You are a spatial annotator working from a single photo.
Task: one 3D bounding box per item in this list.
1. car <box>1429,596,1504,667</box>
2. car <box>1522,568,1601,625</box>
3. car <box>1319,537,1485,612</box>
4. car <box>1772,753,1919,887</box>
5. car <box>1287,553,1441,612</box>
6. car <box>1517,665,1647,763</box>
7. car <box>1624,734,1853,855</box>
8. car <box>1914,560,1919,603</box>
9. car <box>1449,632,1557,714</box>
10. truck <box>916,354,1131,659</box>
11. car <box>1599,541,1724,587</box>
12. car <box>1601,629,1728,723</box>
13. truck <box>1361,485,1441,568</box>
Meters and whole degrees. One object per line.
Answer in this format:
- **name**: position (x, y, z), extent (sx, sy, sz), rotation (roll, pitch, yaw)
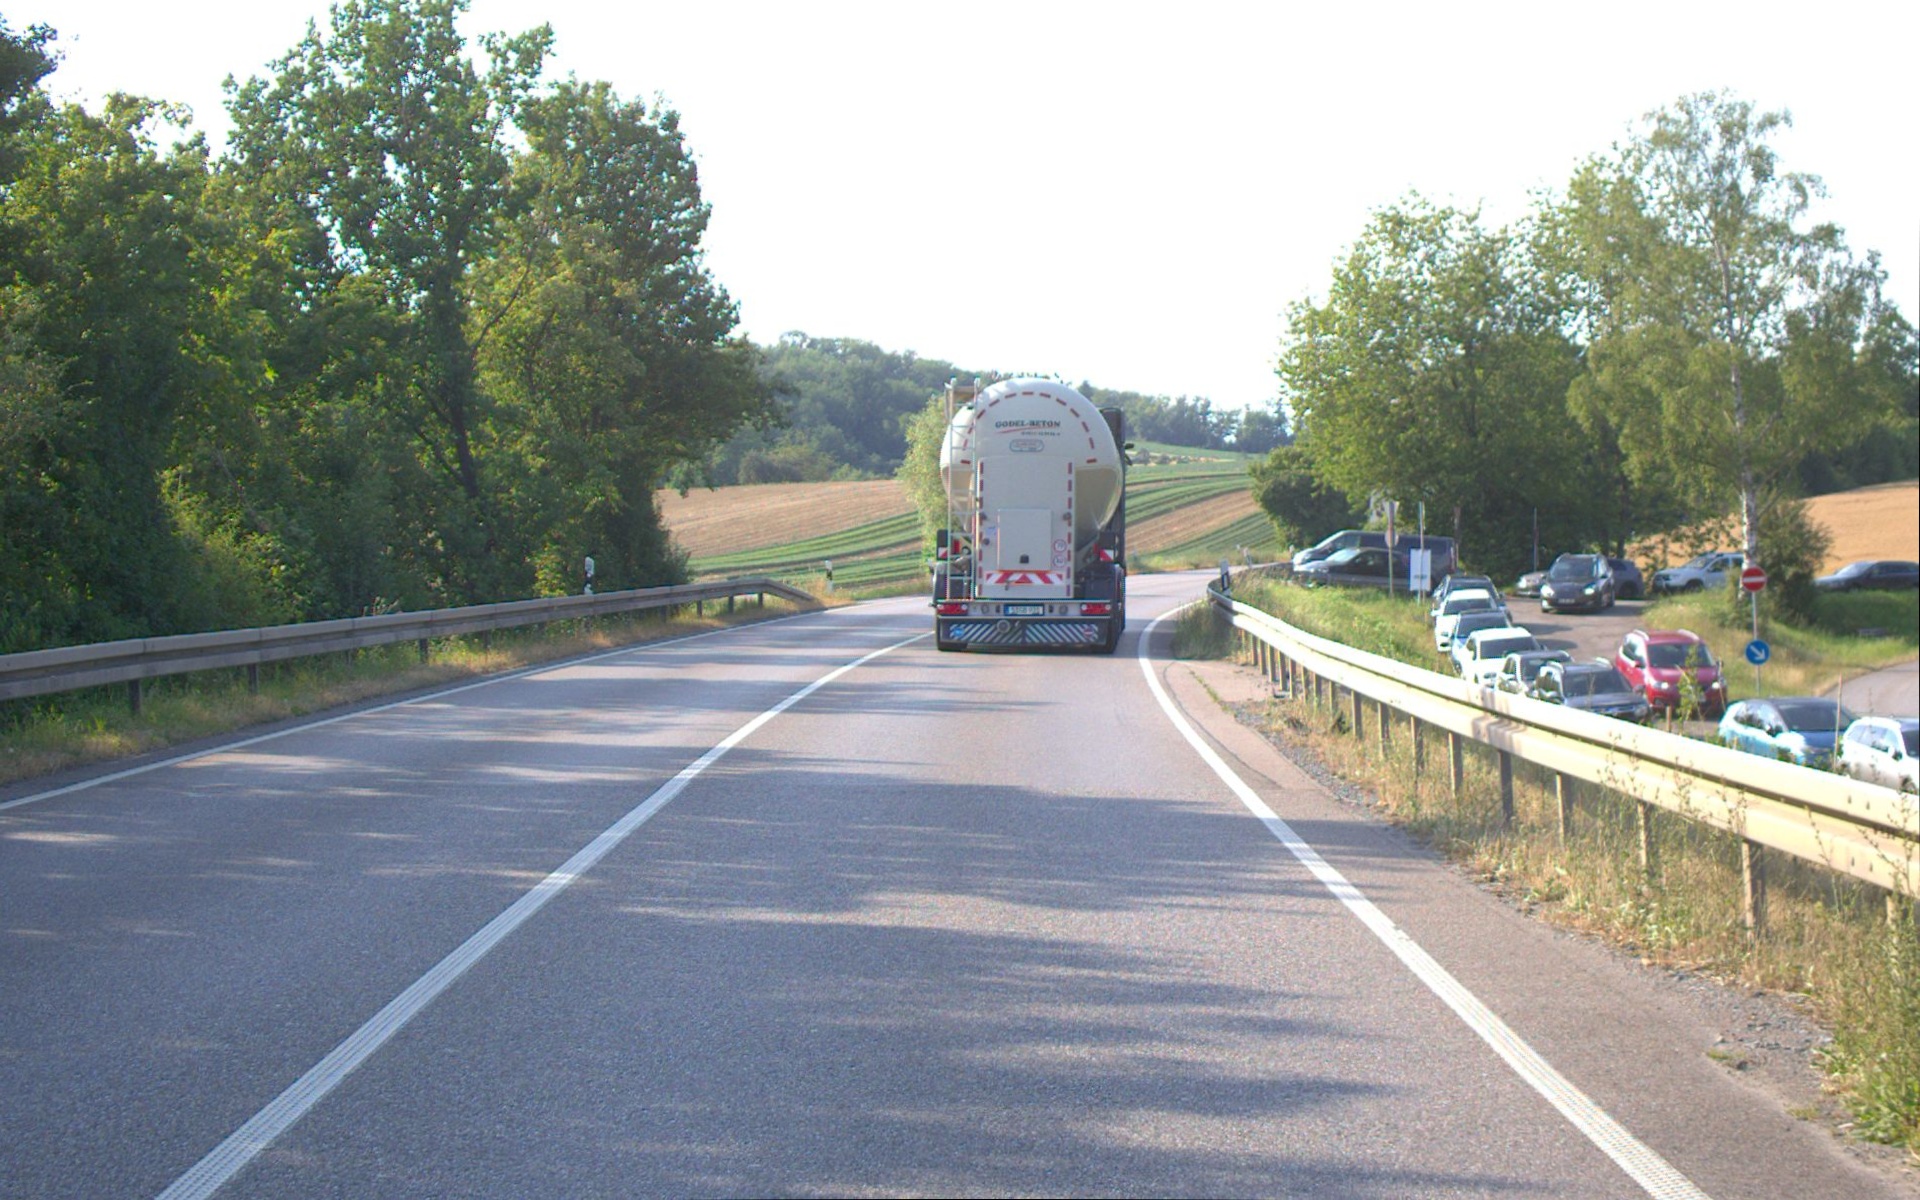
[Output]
- **car**: position (13.826, 0.836, 93.796), extent (1.892, 1.554, 4.781), rotation (-3, 3, 9)
- **car**: position (18.076, -0.104, 103.512), extent (1.892, 1.669, 4.781), rotation (0, 0, 4)
- **car**: position (14.330, -0.828, 111.686), extent (5.141, 1.937, 1.975), rotation (5, 2, 6)
- **car**: position (14.859, 3.435, 54.385), extent (1.891, 1.554, 4.784), rotation (-4, 3, -13)
- **car**: position (12.375, -0.528, 105.251), extent (4.310, 1.504, 1.721), rotation (3, 2, -23)
- **car**: position (12.896, 2.342, 71.542), extent (1.892, 1.554, 4.783), rotation (-3, 3, 2)
- **car**: position (13.467, 3.336, 59.767), extent (1.891, 1.554, 4.784), rotation (-4, 3, -13)
- **car**: position (36.526, -0.635, 122.747), extent (4.628, 1.502, 2.000), rotation (0, 1, -28)
- **car**: position (12.991, 1.724, 82.487), extent (1.892, 1.554, 4.783), rotation (-3, 3, 2)
- **truck**: position (0.890, -1.398, 53.345), extent (2.893, 4.128, 13.172), rotation (0, 1, 0)
- **car**: position (23.779, -1.226, 116.523), extent (3.717, 1.436, 1.812), rotation (1, 1, -18)
- **car**: position (15.976, 1.693, 78.177), extent (1.892, 1.681, 5.087), rotation (-3, 3, 2)
- **truck**: position (23.620, -3.988, 183.647), extent (3.185, 4.213, 13.166), rotation (0, 2, 12)
